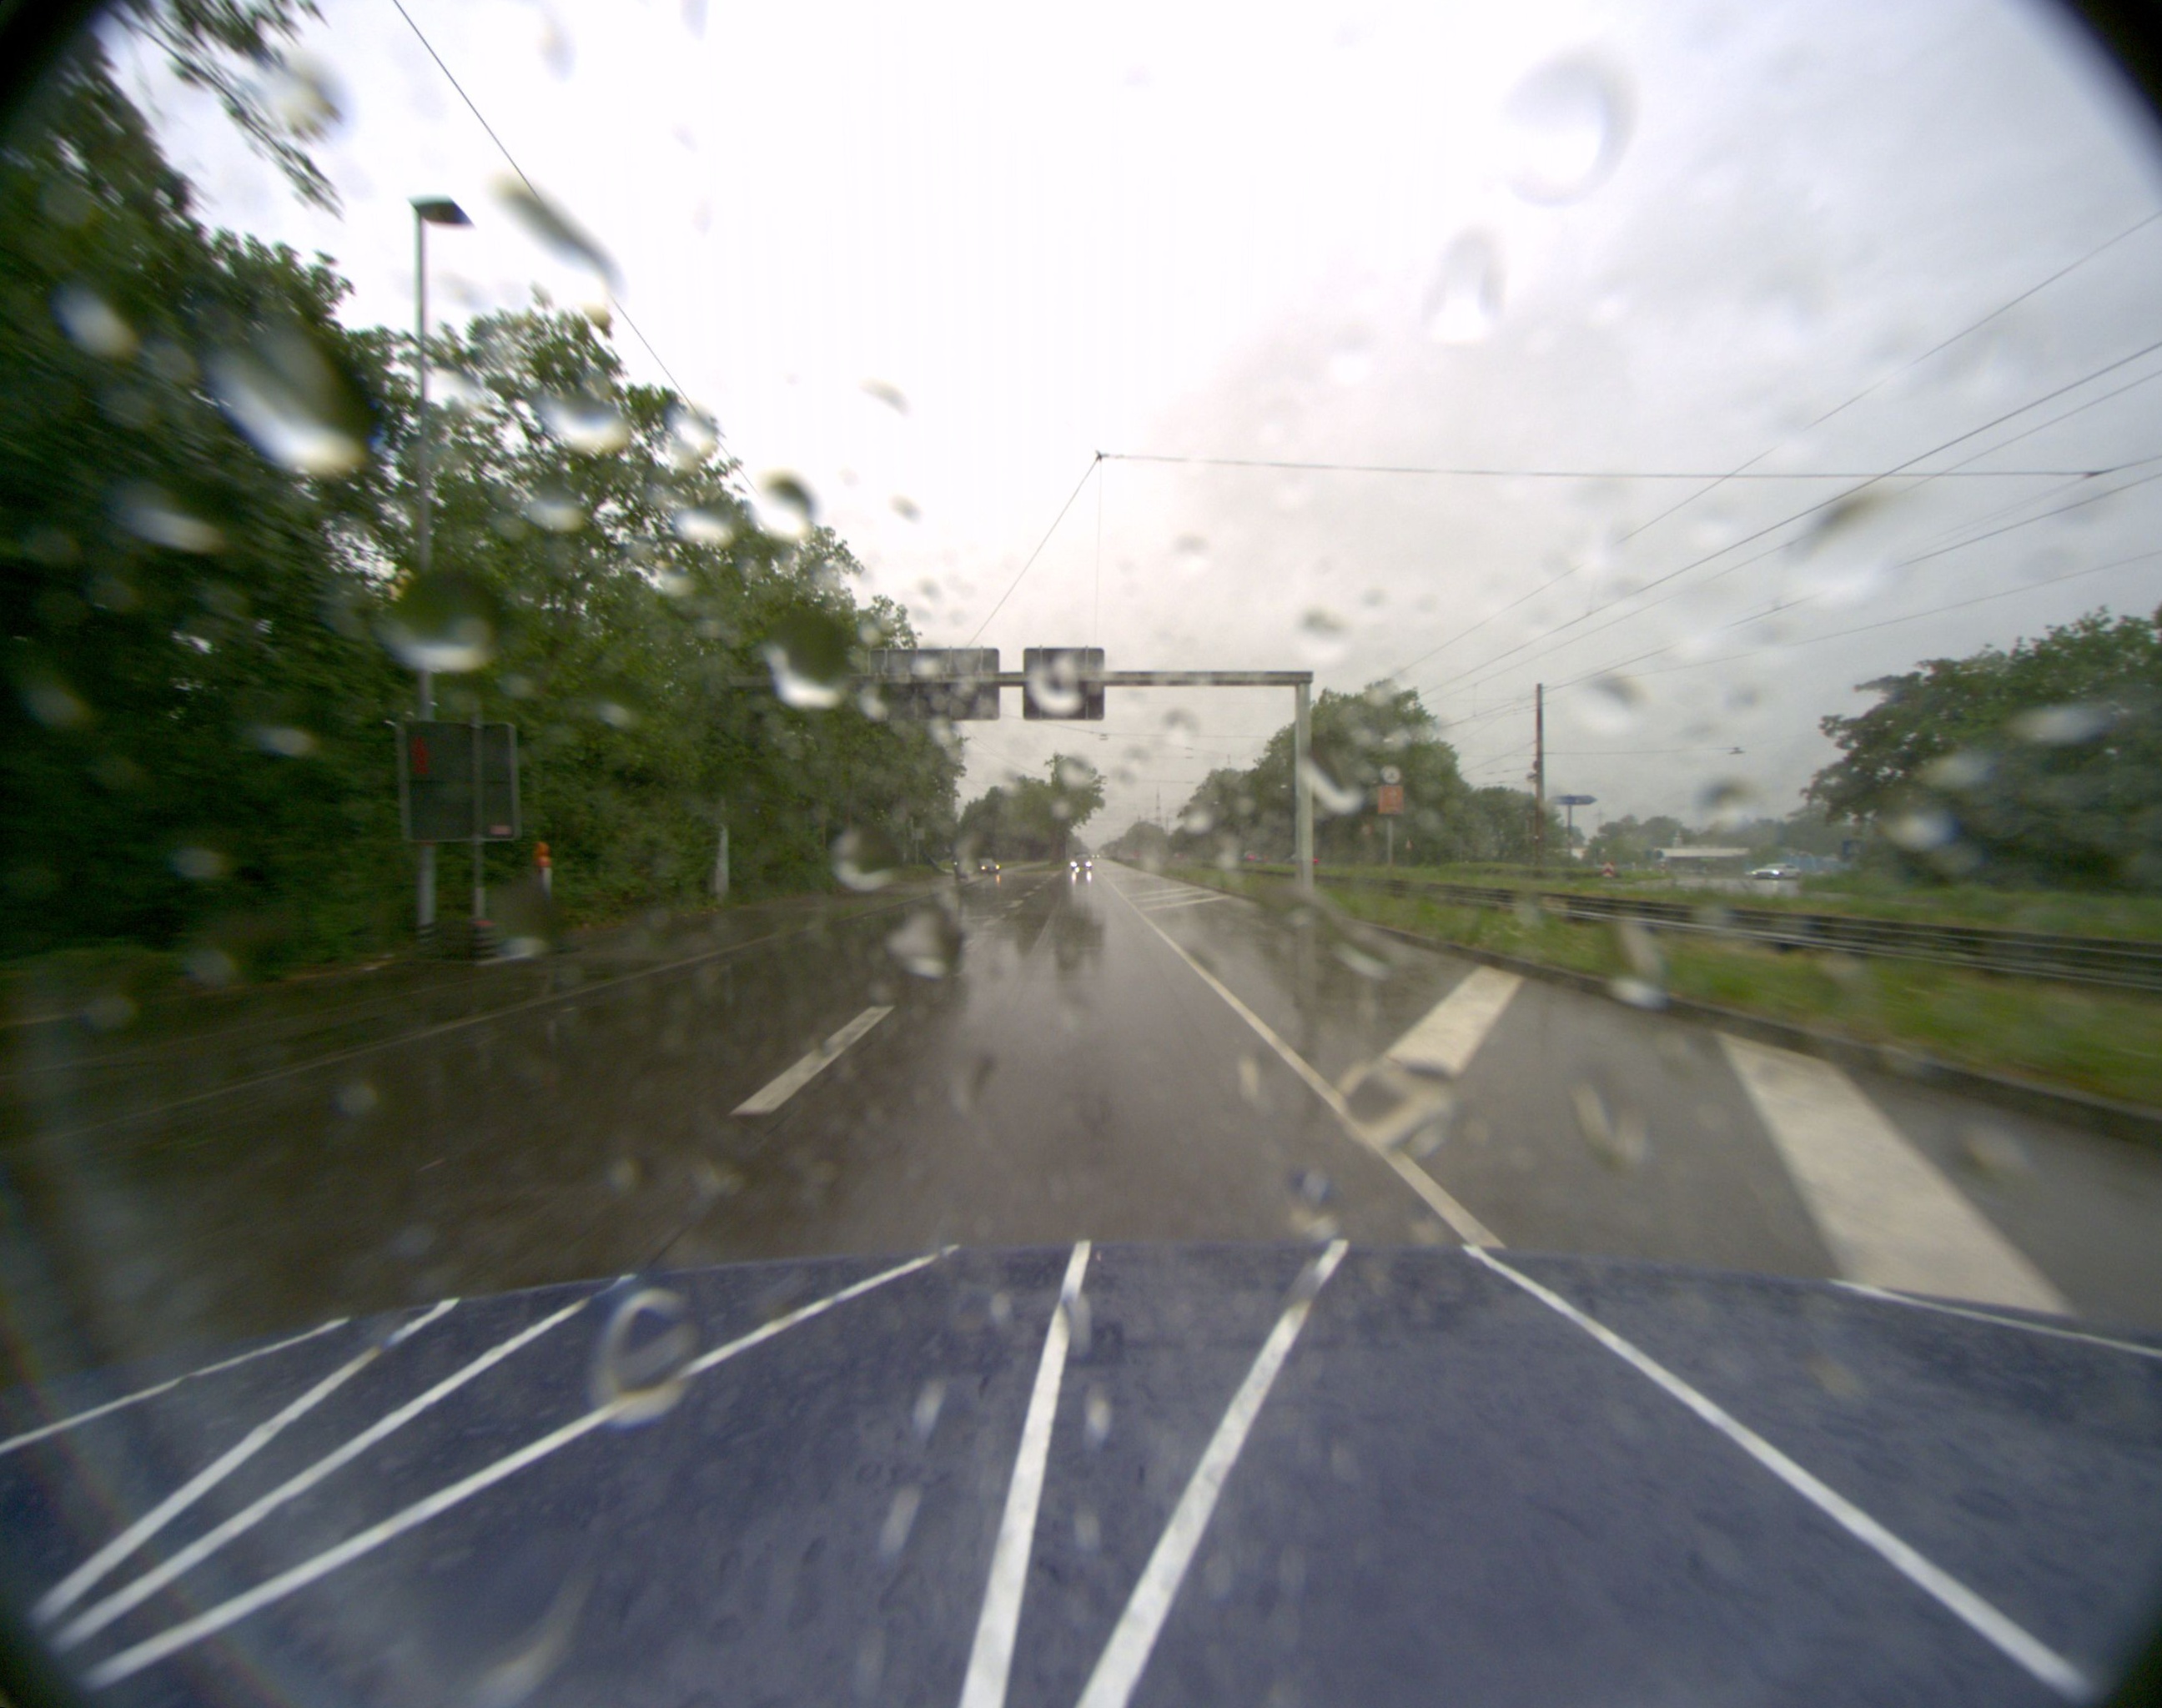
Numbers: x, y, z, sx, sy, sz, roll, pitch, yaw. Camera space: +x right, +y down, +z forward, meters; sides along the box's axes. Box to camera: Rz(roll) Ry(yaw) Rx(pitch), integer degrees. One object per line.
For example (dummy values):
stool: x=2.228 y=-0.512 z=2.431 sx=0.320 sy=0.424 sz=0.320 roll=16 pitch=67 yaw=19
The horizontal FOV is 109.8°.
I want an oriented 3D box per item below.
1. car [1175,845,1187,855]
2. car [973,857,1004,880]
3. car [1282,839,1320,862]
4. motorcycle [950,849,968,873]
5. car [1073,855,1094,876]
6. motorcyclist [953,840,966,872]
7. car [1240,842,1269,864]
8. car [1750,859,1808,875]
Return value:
car: x=20.821 y=-0.776 z=158.492 sx=1.998 sy=2.002 sz=4.000 roll=-1 pitch=0 yaw=0
car: x=-8.655 y=1.327 z=70.887 sx=2.002 sy=2.002 sz=3.993 roll=-1 pitch=0 yaw=-21
car: x=20.427 y=-0.320 z=70.782 sx=1.975 sy=2.002 sz=4.519 roll=-1 pitch=0 yaw=-3
motorcycle: x=-8.842 y=0.512 z=55.331 sx=0.845 sy=1.710 sz=2.585 roll=-1 pitch=1 yaw=0
car: x=0.277 y=1.084 z=74.215 sx=1.998 sy=2.002 sz=4.000 roll=-1 pitch=0 yaw=0
motorcyclist: x=-8.861 y=0.142 z=55.352 sx=0.762 sy=2.246 sz=0.915 roll=-1 pitch=1 yaw=0
car: x=17.177 y=-0.104 z=75.370 sx=1.998 sy=2.002 sz=4.000 roll=-1 pitch=0 yaw=0
car: x=62.372 y=1.146 z=67.932 sx=4.493 sy=1.348 sz=1.605 roll=-1 pitch=1 yaw=-14
